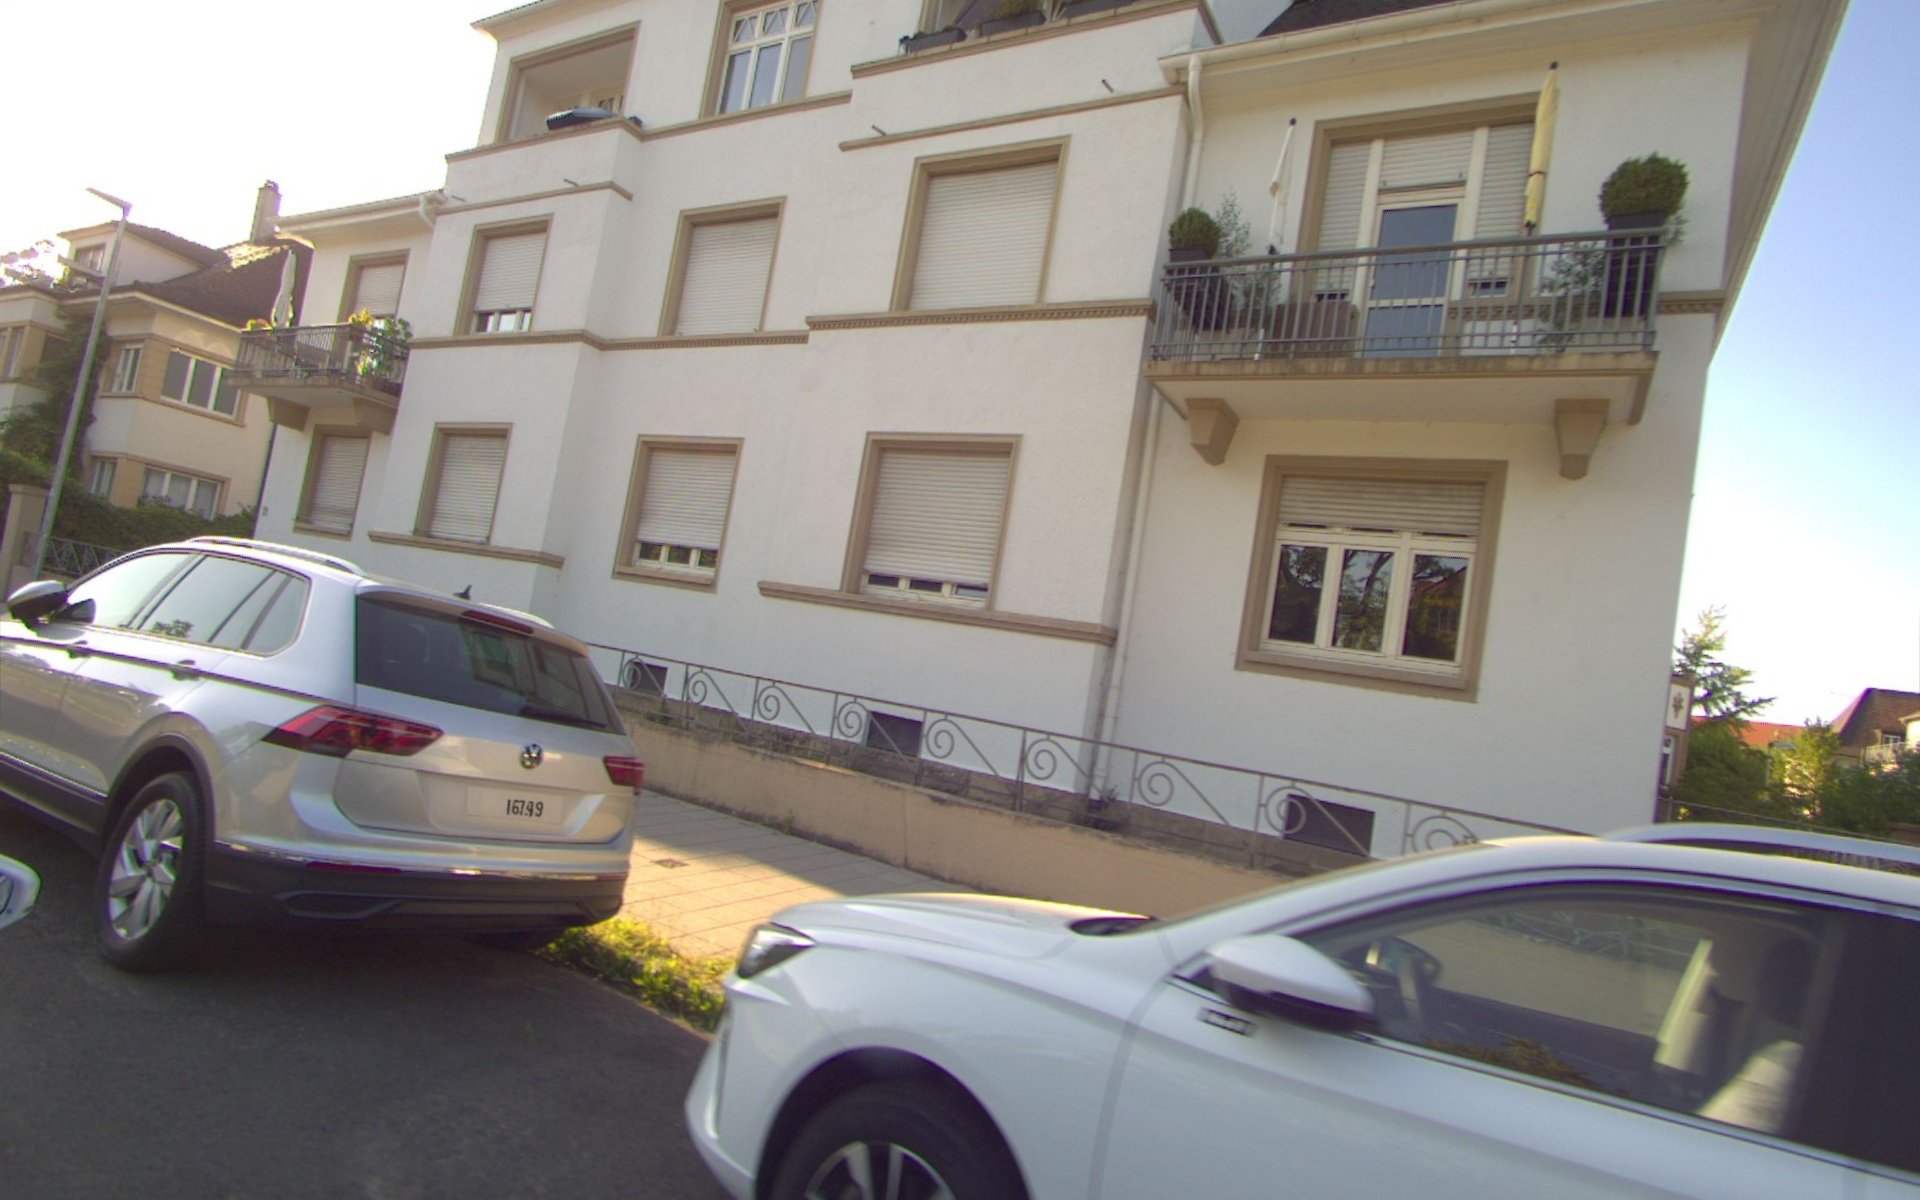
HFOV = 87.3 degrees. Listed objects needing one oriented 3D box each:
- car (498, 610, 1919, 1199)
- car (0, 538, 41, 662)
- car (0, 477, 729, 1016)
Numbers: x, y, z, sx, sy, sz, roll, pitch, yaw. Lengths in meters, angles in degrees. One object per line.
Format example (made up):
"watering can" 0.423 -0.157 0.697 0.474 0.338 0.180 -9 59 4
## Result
"car" 1.285 1.221 2.324 4.515 1.544 1.887 6 -11 33
"car" -11.078 -0.239 9.722 4.230 1.444 1.776 7 -11 30
"car" -3.646 0.509 5.186 4.507 1.660 1.813 6 -10 30
